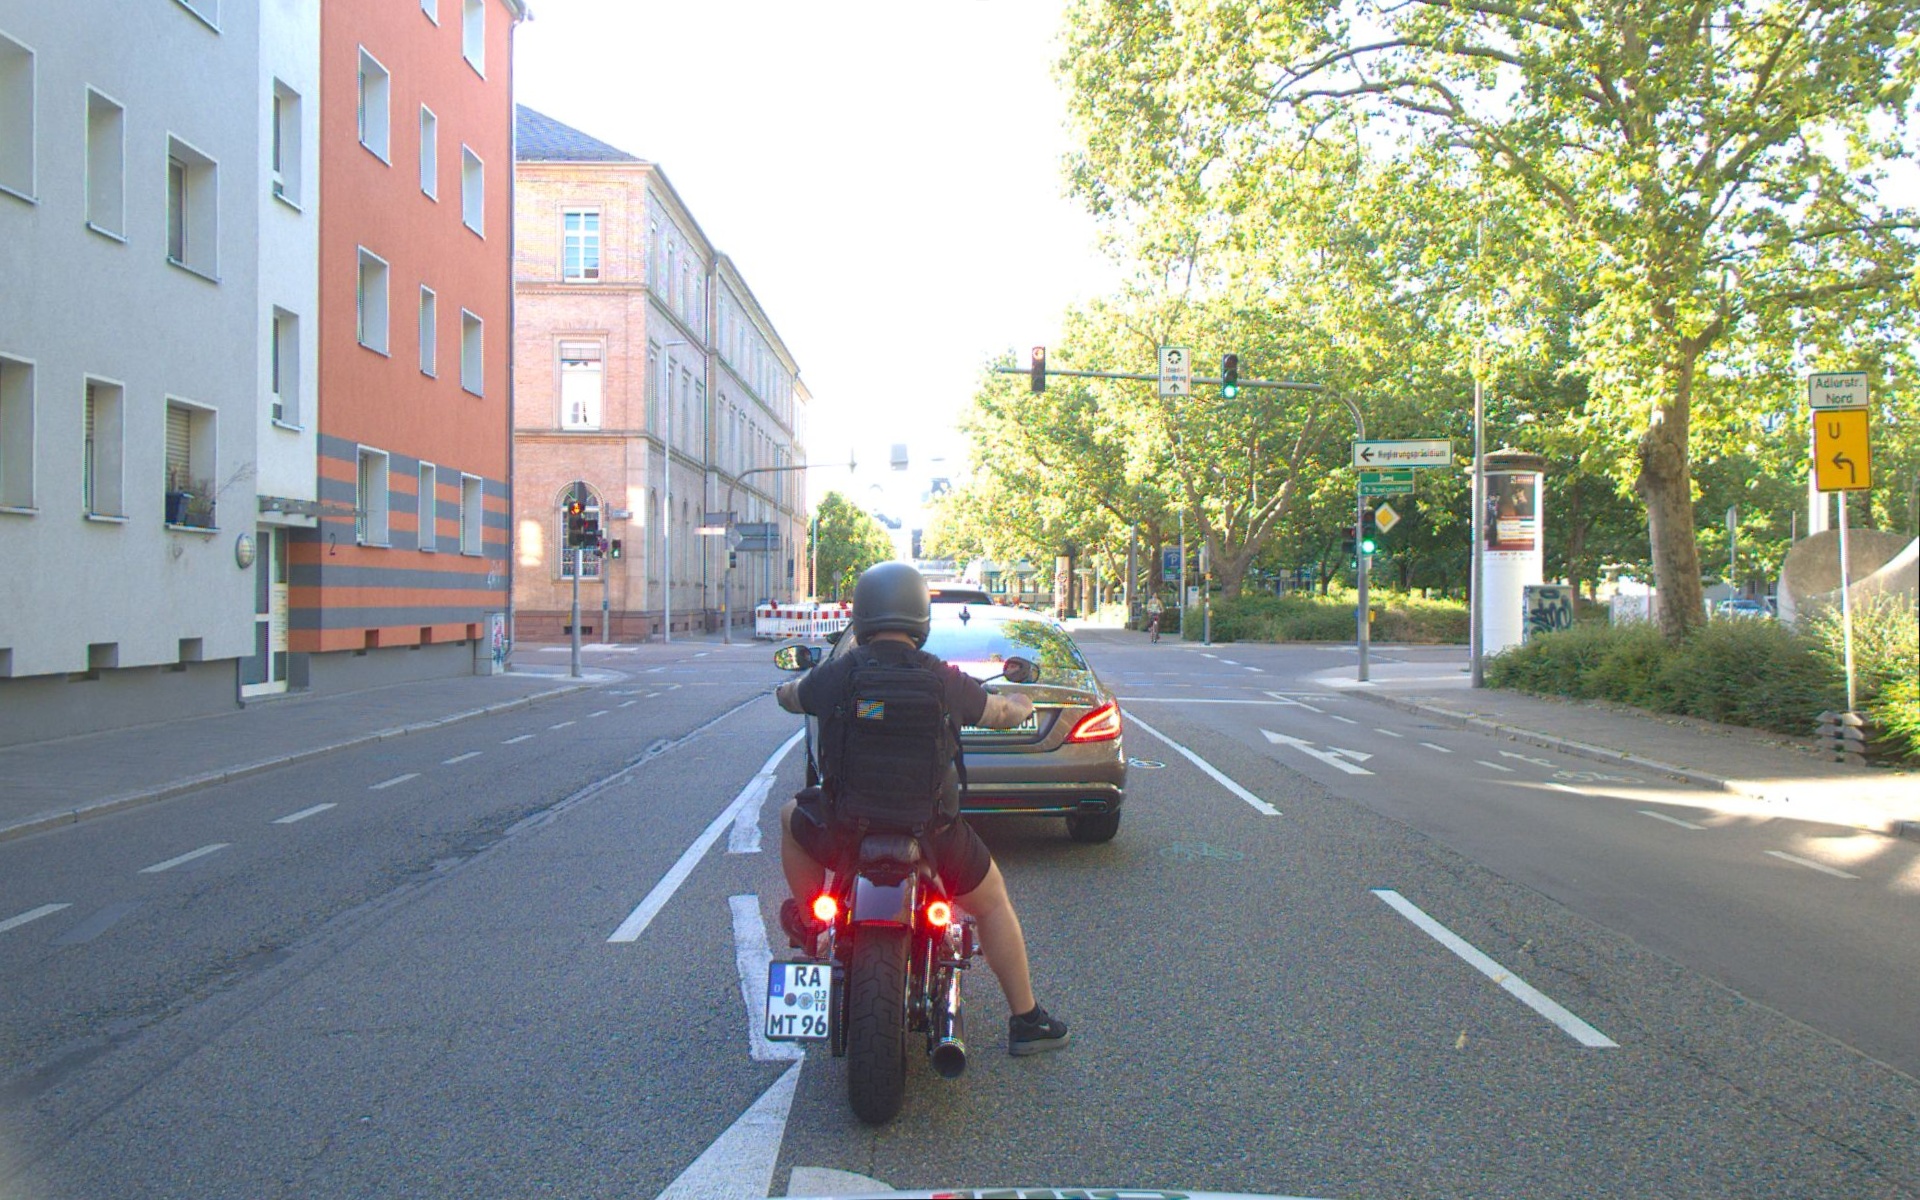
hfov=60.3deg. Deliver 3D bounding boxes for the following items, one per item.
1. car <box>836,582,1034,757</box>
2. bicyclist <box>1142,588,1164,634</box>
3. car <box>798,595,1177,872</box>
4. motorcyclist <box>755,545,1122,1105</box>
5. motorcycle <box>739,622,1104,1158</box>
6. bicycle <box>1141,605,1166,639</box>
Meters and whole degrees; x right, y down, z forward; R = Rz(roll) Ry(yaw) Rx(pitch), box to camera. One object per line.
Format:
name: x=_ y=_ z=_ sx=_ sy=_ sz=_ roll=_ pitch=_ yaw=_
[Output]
car: x=-0.329 y=0.615 z=16.751 sx=1.777 sy=1.563 sz=3.846 roll=0 pitch=0 yaw=-3
bicyclist: x=6.835 y=0.383 z=58.483 sx=0.701 sy=1.610 sz=0.936 roll=1 pitch=0 yaw=3
car: x=-0.042 y=0.707 z=11.065 sx=1.867 sy=1.466 sz=4.280 roll=0 pitch=0 yaw=-9
motorcyclist: x=-0.066 y=0.656 z=5.252 sx=1.039 sy=1.610 sz=0.908 roll=1 pitch=0 yaw=-1
motorcycle: x=-0.116 y=0.781 z=5.521 sx=0.942 sy=1.380 sz=2.319 roll=1 pitch=0 yaw=-1
bicycle: x=6.839 y=0.769 z=58.504 sx=0.701 sy=1.193 sz=2.177 roll=1 pitch=0 yaw=3
